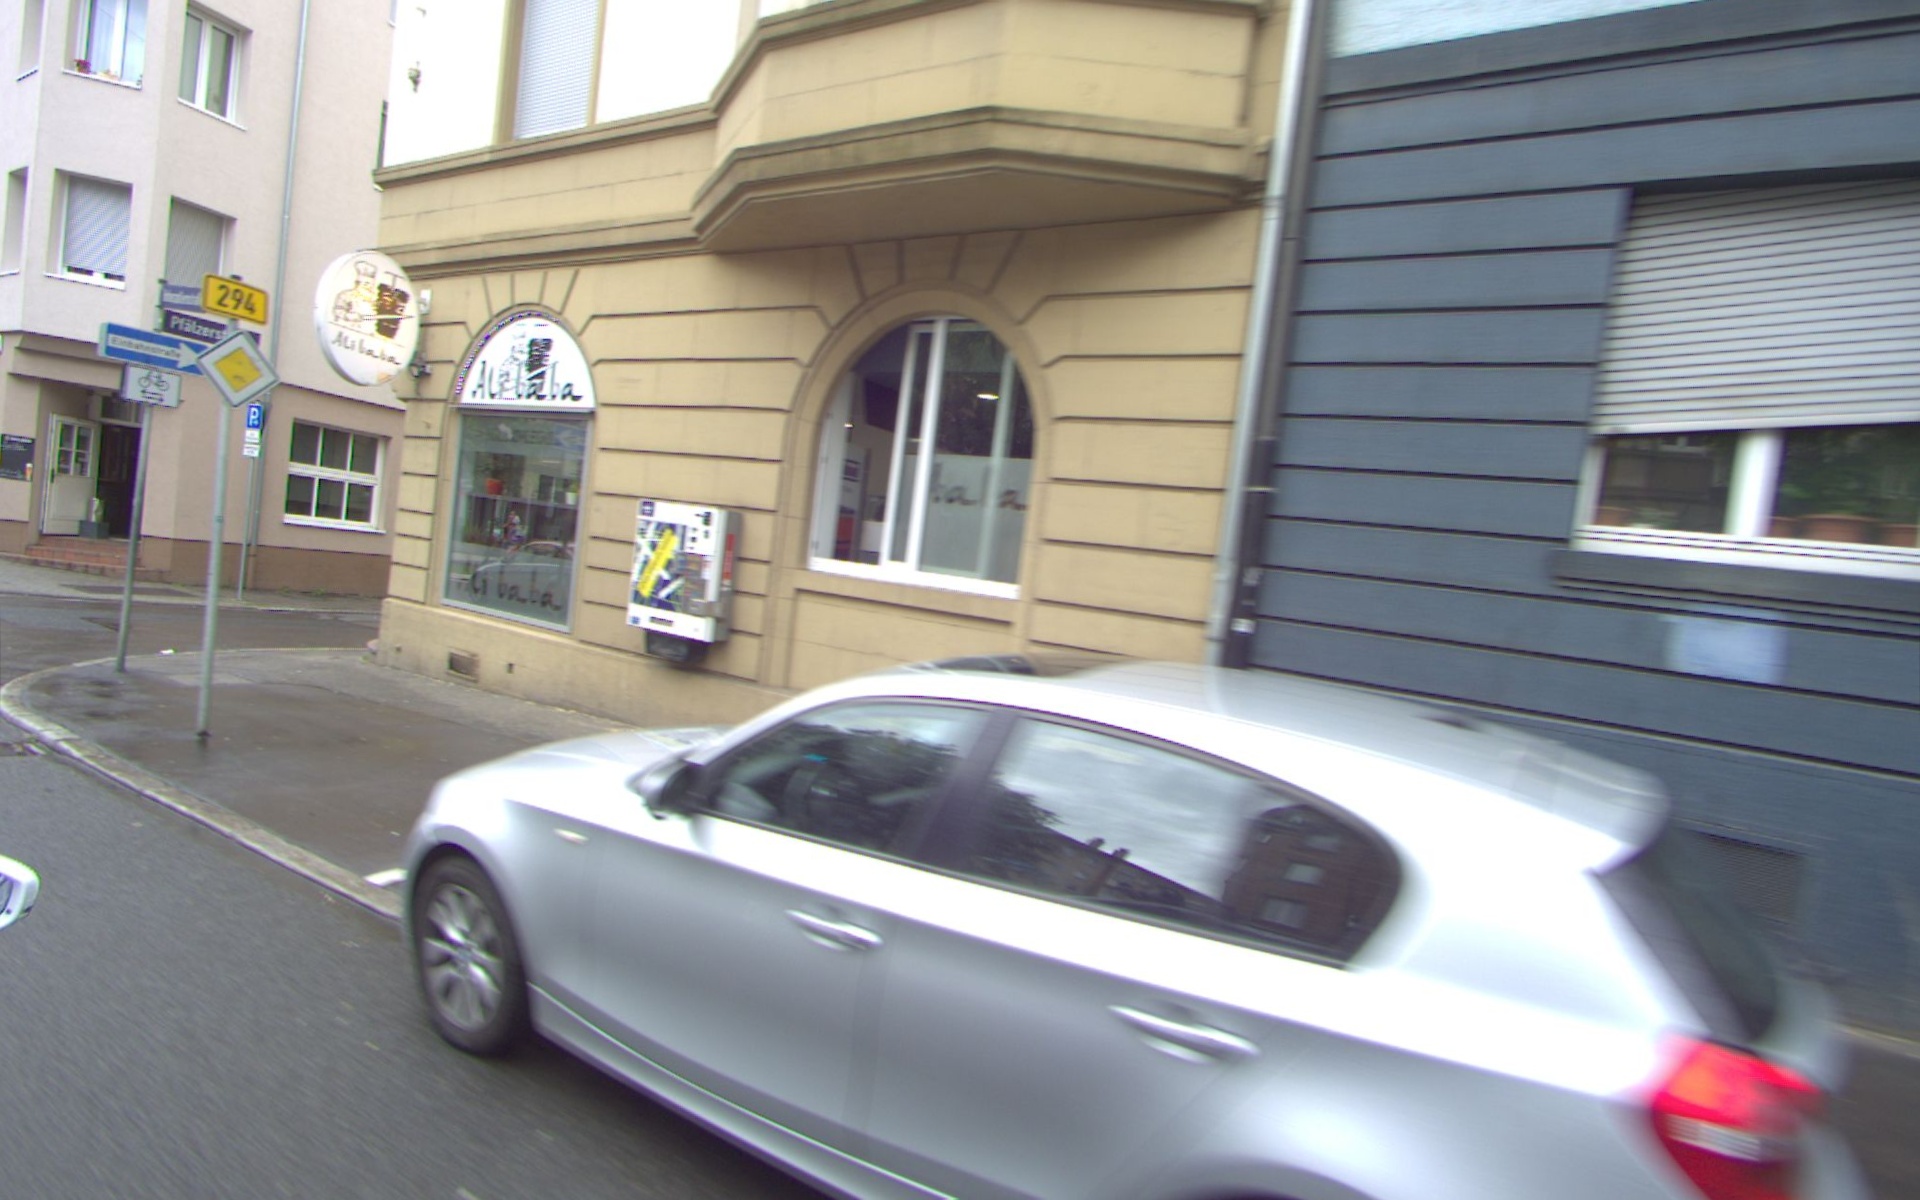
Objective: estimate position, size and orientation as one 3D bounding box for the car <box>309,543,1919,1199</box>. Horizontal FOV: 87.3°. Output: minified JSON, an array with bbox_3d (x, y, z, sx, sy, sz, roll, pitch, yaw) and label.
[{"bbox_3d":[-0.112,0.757,3.039,4.022,1.483,1.569,7,3,33],"label":"car"}]
